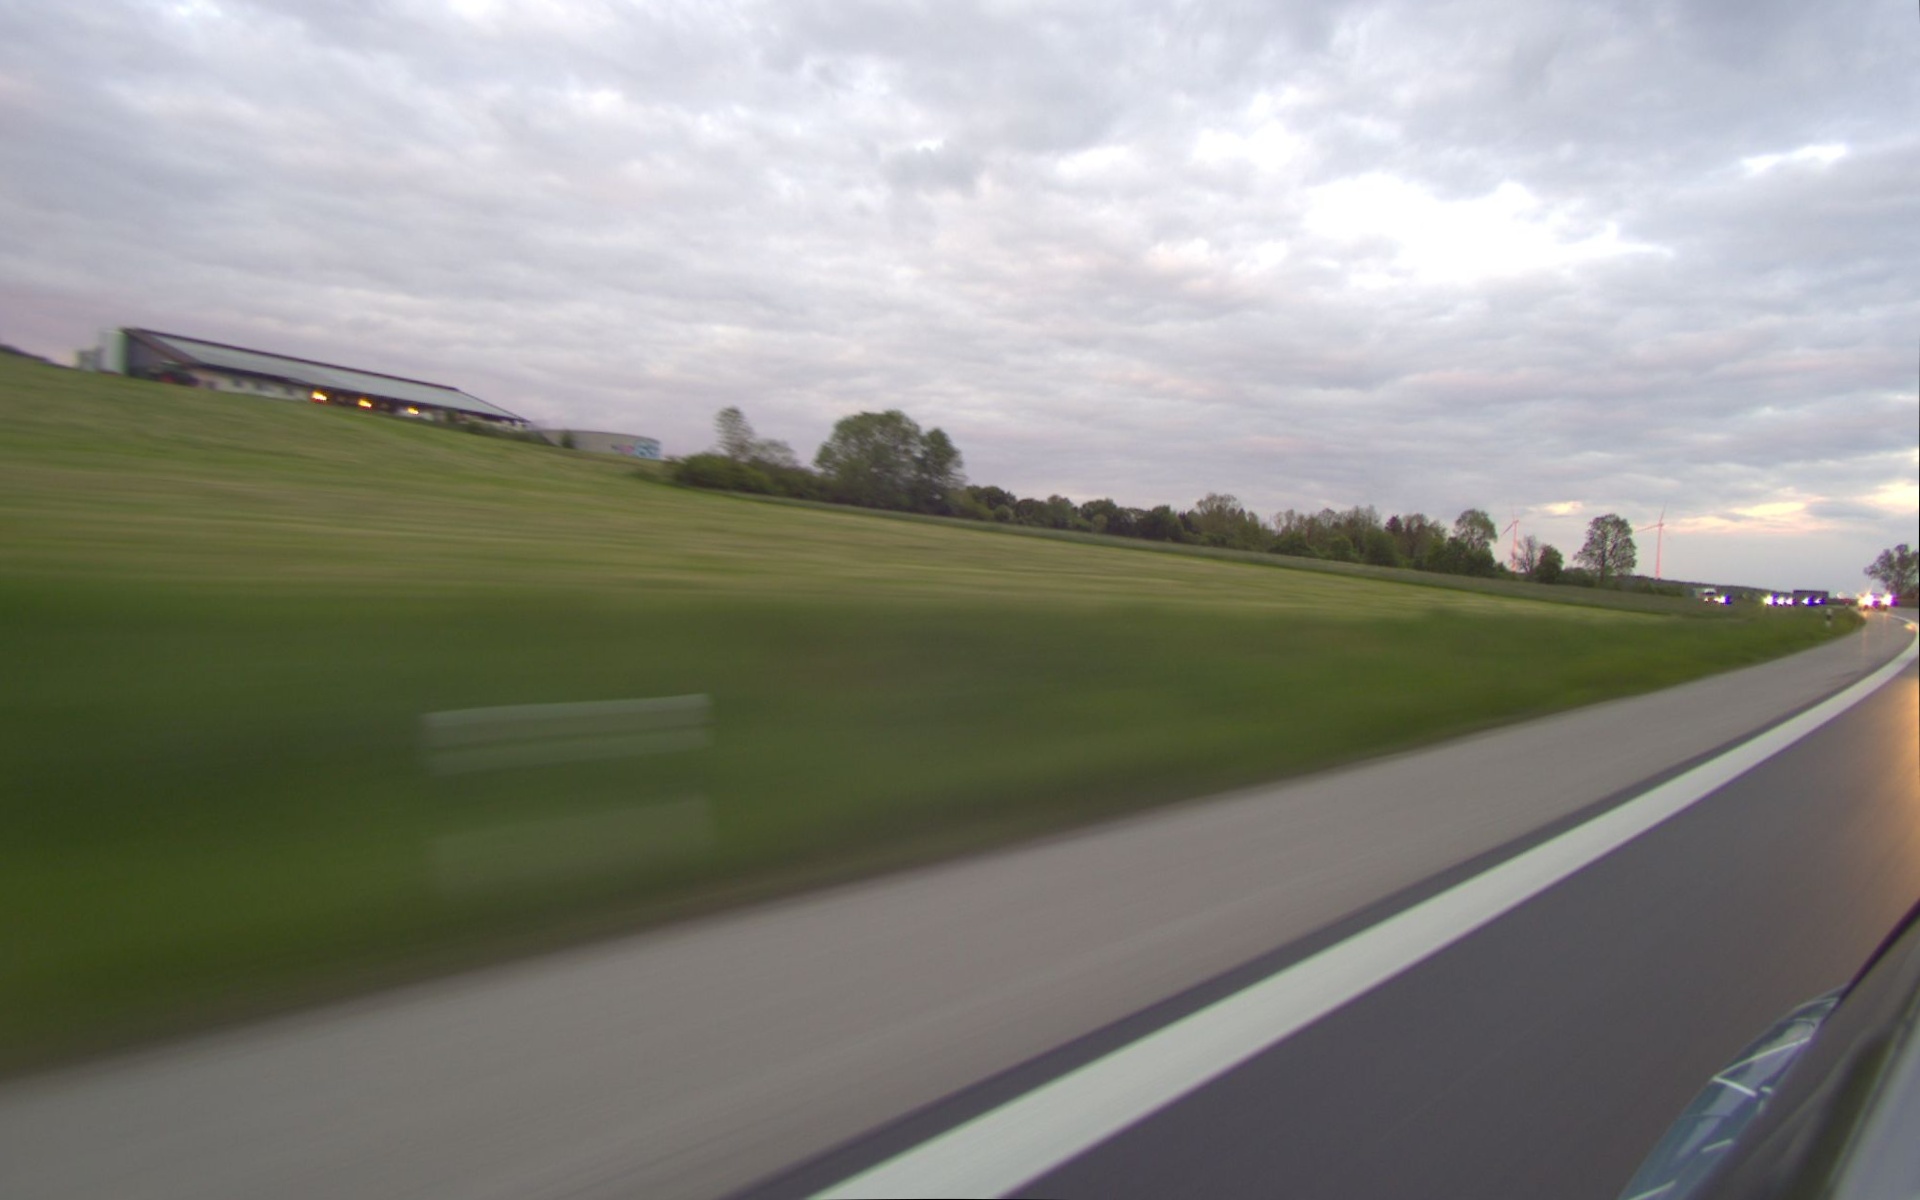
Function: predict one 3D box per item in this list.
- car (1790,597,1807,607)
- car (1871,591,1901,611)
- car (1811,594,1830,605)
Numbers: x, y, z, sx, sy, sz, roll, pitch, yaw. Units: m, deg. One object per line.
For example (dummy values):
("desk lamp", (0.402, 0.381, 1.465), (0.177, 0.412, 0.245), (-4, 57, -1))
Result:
("car", (145.266, 0.272, 175.335), (1.791, 1.665, 4.045), (1, 1, 34))
("car", (94.059, 0.062, 102.848), (1.911, 1.860, 3.945), (2, 2, 38))
("car", (133.199, -0.131, 156.627), (1.791, 1.665, 4.045), (1, 1, 34))
